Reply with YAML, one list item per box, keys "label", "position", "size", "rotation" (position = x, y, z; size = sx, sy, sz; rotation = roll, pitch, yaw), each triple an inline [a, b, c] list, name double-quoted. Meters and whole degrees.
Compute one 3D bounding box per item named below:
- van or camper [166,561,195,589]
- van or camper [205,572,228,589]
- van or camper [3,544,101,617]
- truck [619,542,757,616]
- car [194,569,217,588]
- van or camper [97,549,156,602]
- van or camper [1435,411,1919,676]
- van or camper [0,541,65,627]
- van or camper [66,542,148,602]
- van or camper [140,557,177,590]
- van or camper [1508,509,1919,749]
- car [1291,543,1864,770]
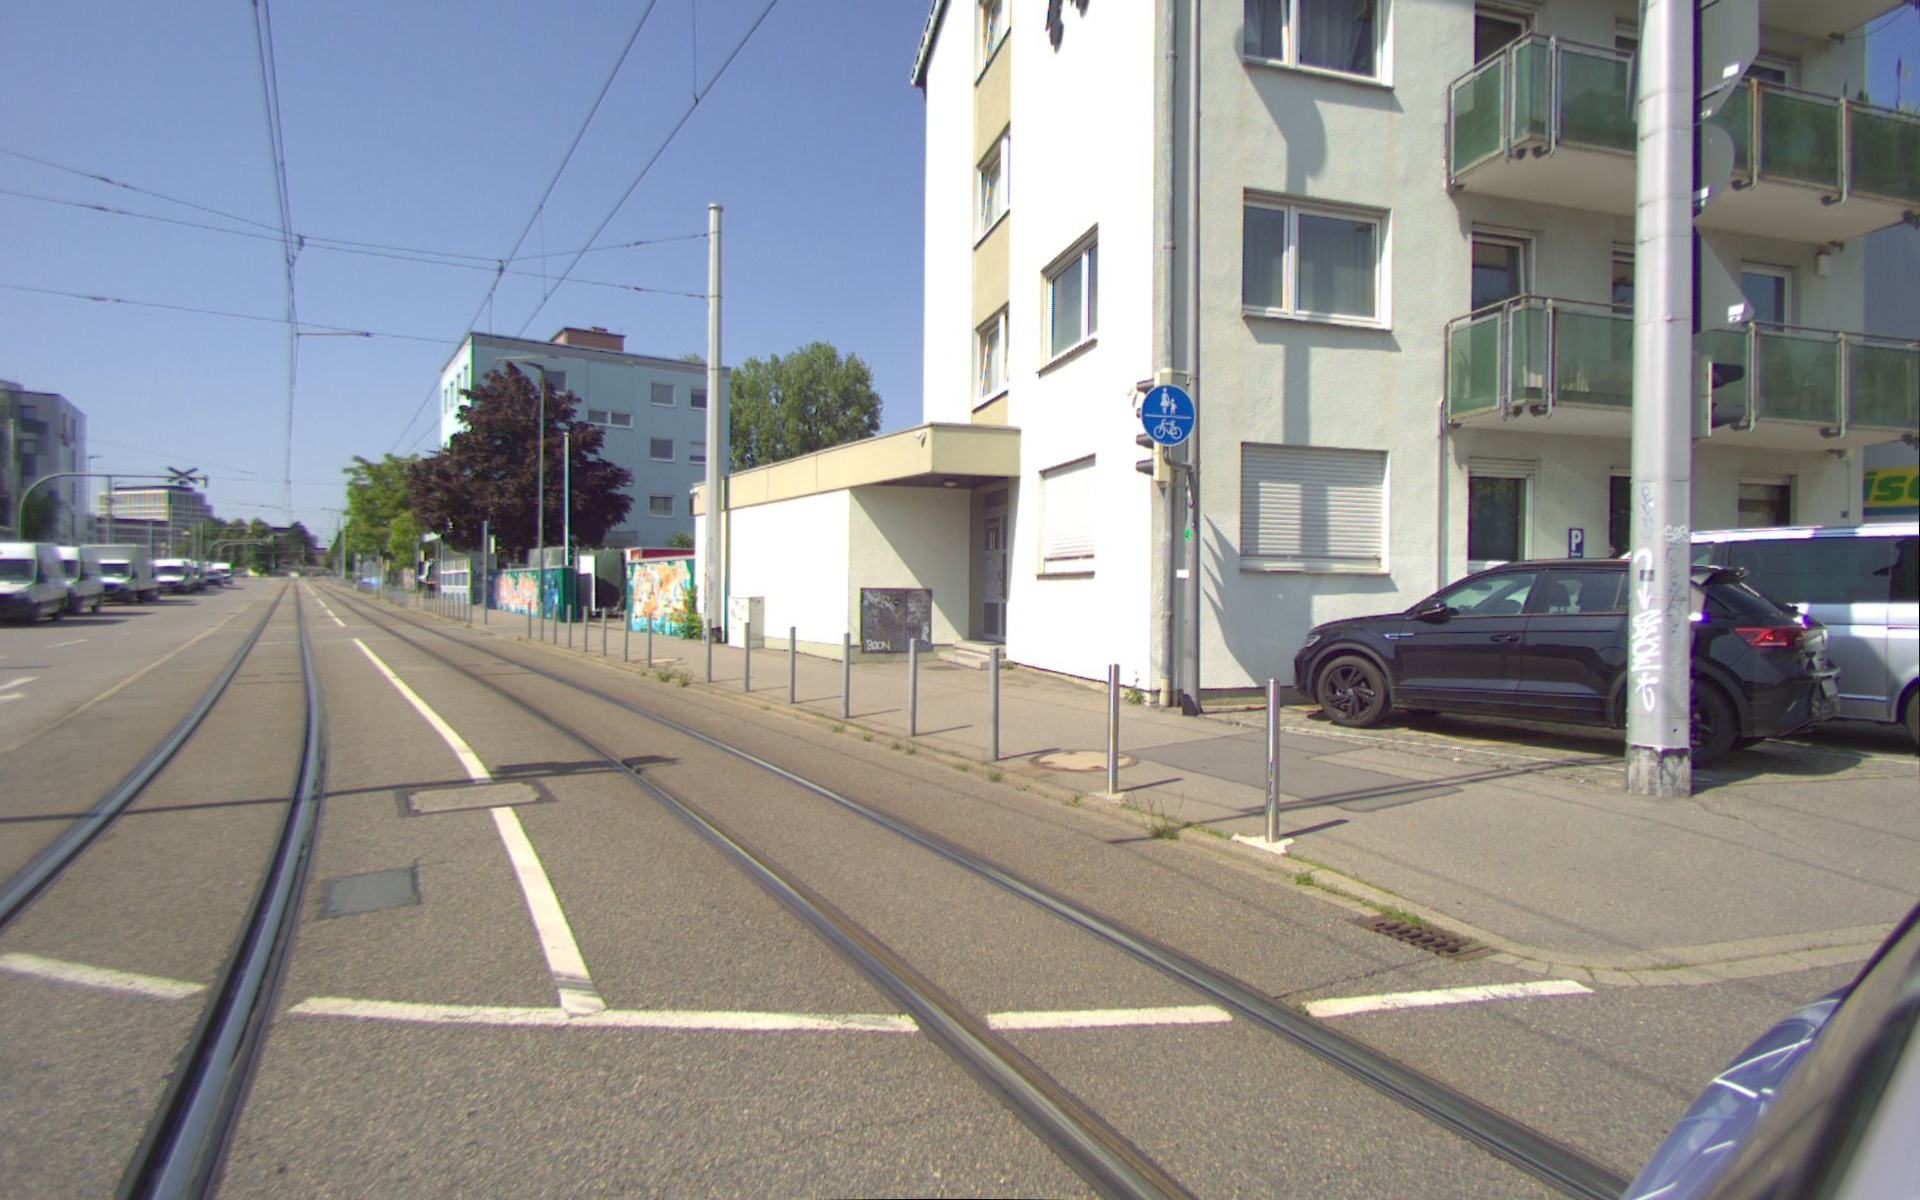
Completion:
- label: "van or camper"
  position: [-63.971, -2.030, 83.066]
  size: [1.792, 2.239, 4.258]
  rotation: [0, 1, -37]
- label: "van or camper"
  position: [-91.321, -2.391, 124.337]
  size: [1.961, 2.039, 4.003]
  rotation: [0, 1, -32]
- label: "van or camper"
  position: [-34.416, -0.748, 38.505]
  size: [2.005, 2.566, 5.584]
  rotation: [0, 1, -34]
- label: "truck"
  position: [-10.374, -0.787, 38.632]
  size: [4.736, 2.659, 2.192]
  rotation: [0, 1, -29]
- label: "car"
  position: [-81.971, -2.331, 109.987]
  size: [1.792, 2.039, 3.837]
  rotation: [0, 1, -34]
- label: "van or camper"
  position: [-46.517, -1.354, 56.558]
  size: [2.136, 2.821, 4.732]
  rotation: [0, 1, -35]
- label: "van or camper"
  position: [13.862, -0.859, 17.230]
  size: [2.723, 3.739, 11.662]
  rotation: [0, 1, -22]
- label: "van or camper"
  position: [-30.351, -0.530, 32.242]
  size: [2.005, 2.566, 5.871]
  rotation: [0, 1, -34]
- label: "van or camper"
  position: [-42.715, -1.378, 50.849]
  size: [2.476, 2.821, 7.117]
  rotation: [0, 1, -35]
- label: "van or camper"
  position: [-56.996, -1.882, 72.010]
  size: [1.922, 2.239, 4.906]
  rotation: [0, 1, -37]
- label: "van or camper"
  position: [7.958, 0.209, 9.476]
  size: [1.962, 1.931, 4.556]
  rotation: [1, 1, -36]
- label: "car"
  position: [5.219, 0.344, 8.977]
  size: [1.847, 1.540, 3.968]
  rotation: [0, 1, -40]
